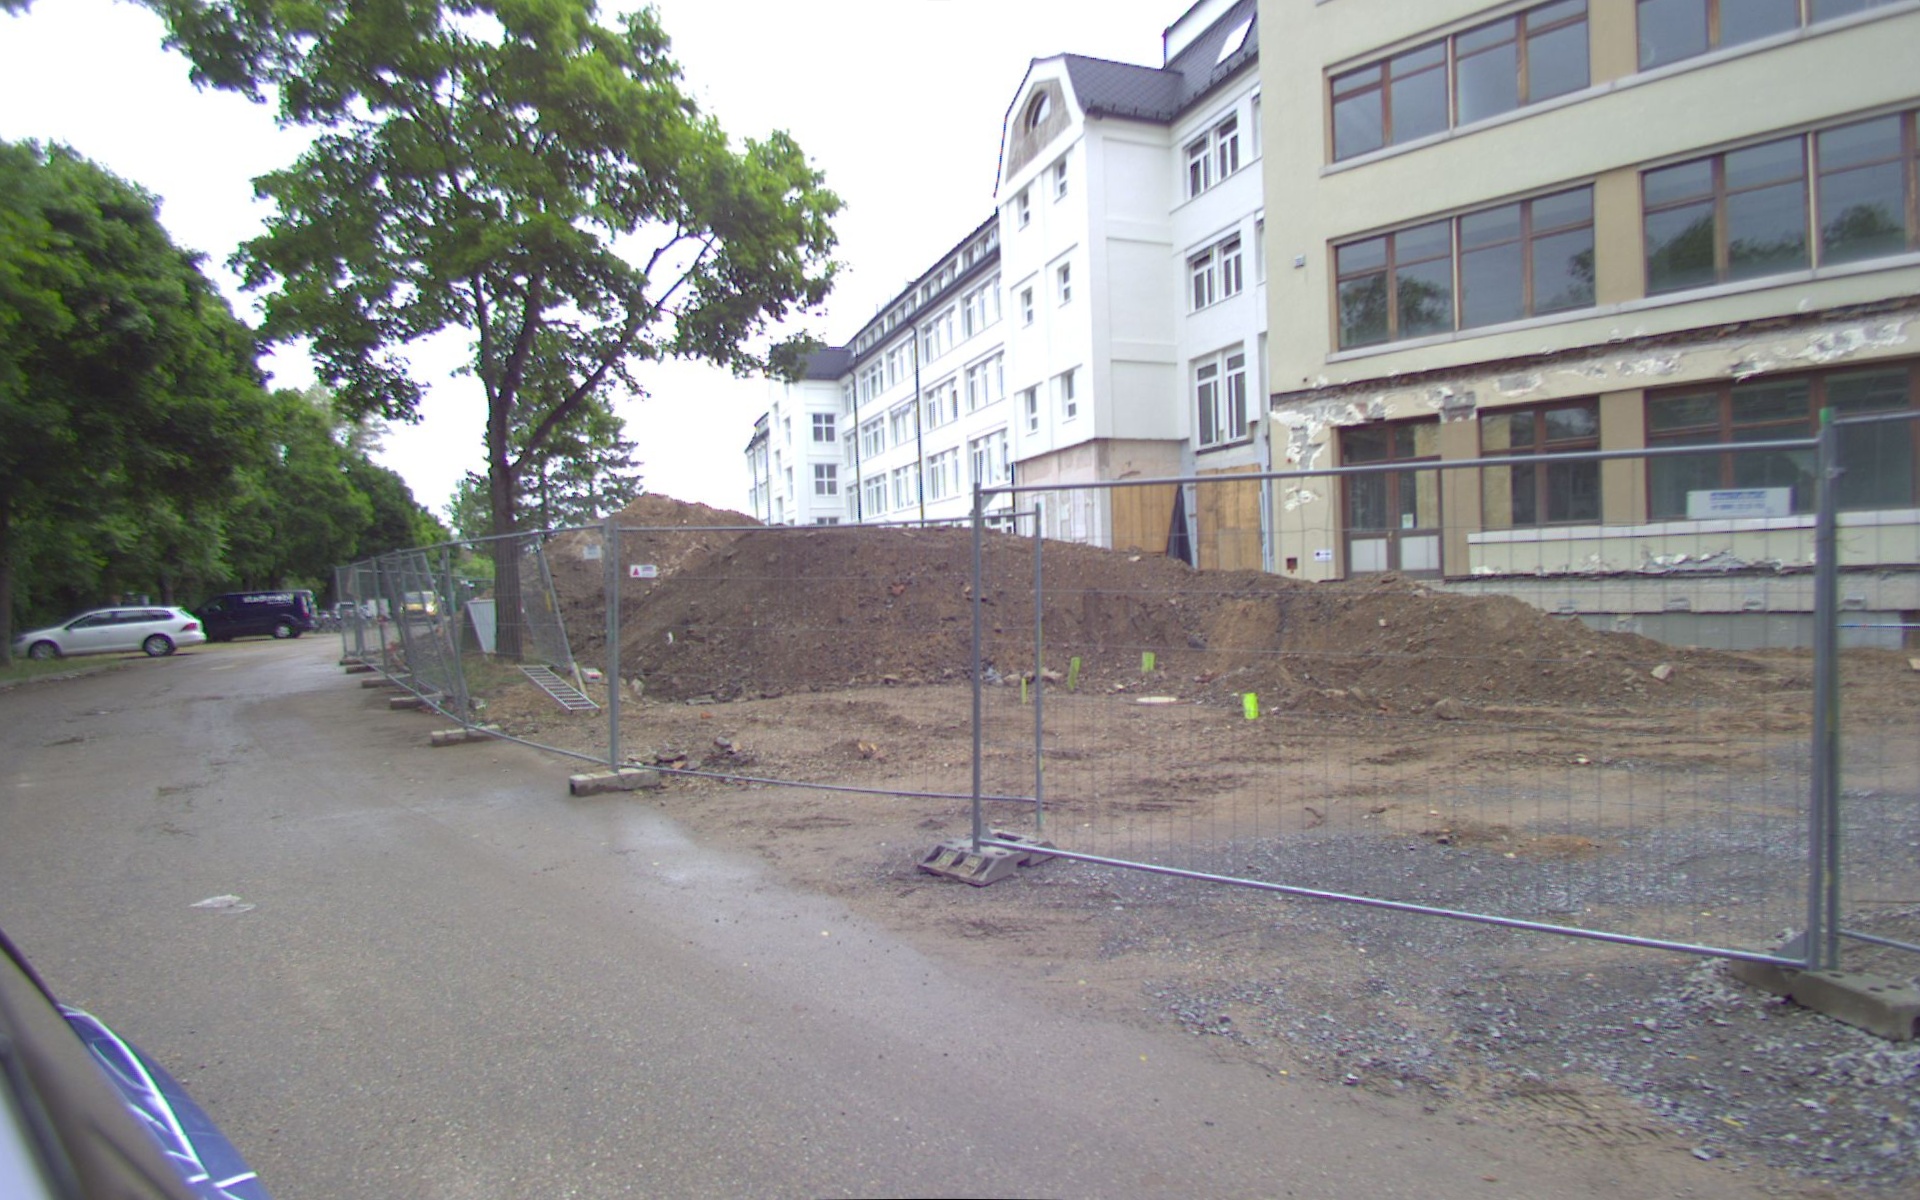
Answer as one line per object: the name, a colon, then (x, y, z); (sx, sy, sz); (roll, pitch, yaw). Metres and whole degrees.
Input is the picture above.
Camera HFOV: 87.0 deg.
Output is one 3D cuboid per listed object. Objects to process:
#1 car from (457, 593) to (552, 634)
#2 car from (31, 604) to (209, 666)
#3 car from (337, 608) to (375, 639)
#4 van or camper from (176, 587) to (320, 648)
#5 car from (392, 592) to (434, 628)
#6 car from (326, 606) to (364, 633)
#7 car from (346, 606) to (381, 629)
car: (-22.356, 0.640, 49.849); (3.933, 1.851, 2.006); (-2, 0, -15)
car: (-24.608, 0.986, 29.834); (3.822, 1.586, 1.757); (-2, 1, -34)
car: (-34.330, 1.303, 57.506); (1.791, 1.608, 4.012); (-2, 0, -31)
van or camper: (-29.223, 0.685, 41.713); (4.423, 2.275, 2.007); (-2, 0, -22)
car: (-32.414, 0.578, 59.949); (2.089, 2.029, 4.012); (-2, 0, -29)
car: (-40.384, 1.260, 66.527); (1.966, 1.608, 4.012); (-2, 0, -30)
car: (-43.509, 1.247, 73.892); (1.966, 1.608, 4.013); (-2, 0, -27)
